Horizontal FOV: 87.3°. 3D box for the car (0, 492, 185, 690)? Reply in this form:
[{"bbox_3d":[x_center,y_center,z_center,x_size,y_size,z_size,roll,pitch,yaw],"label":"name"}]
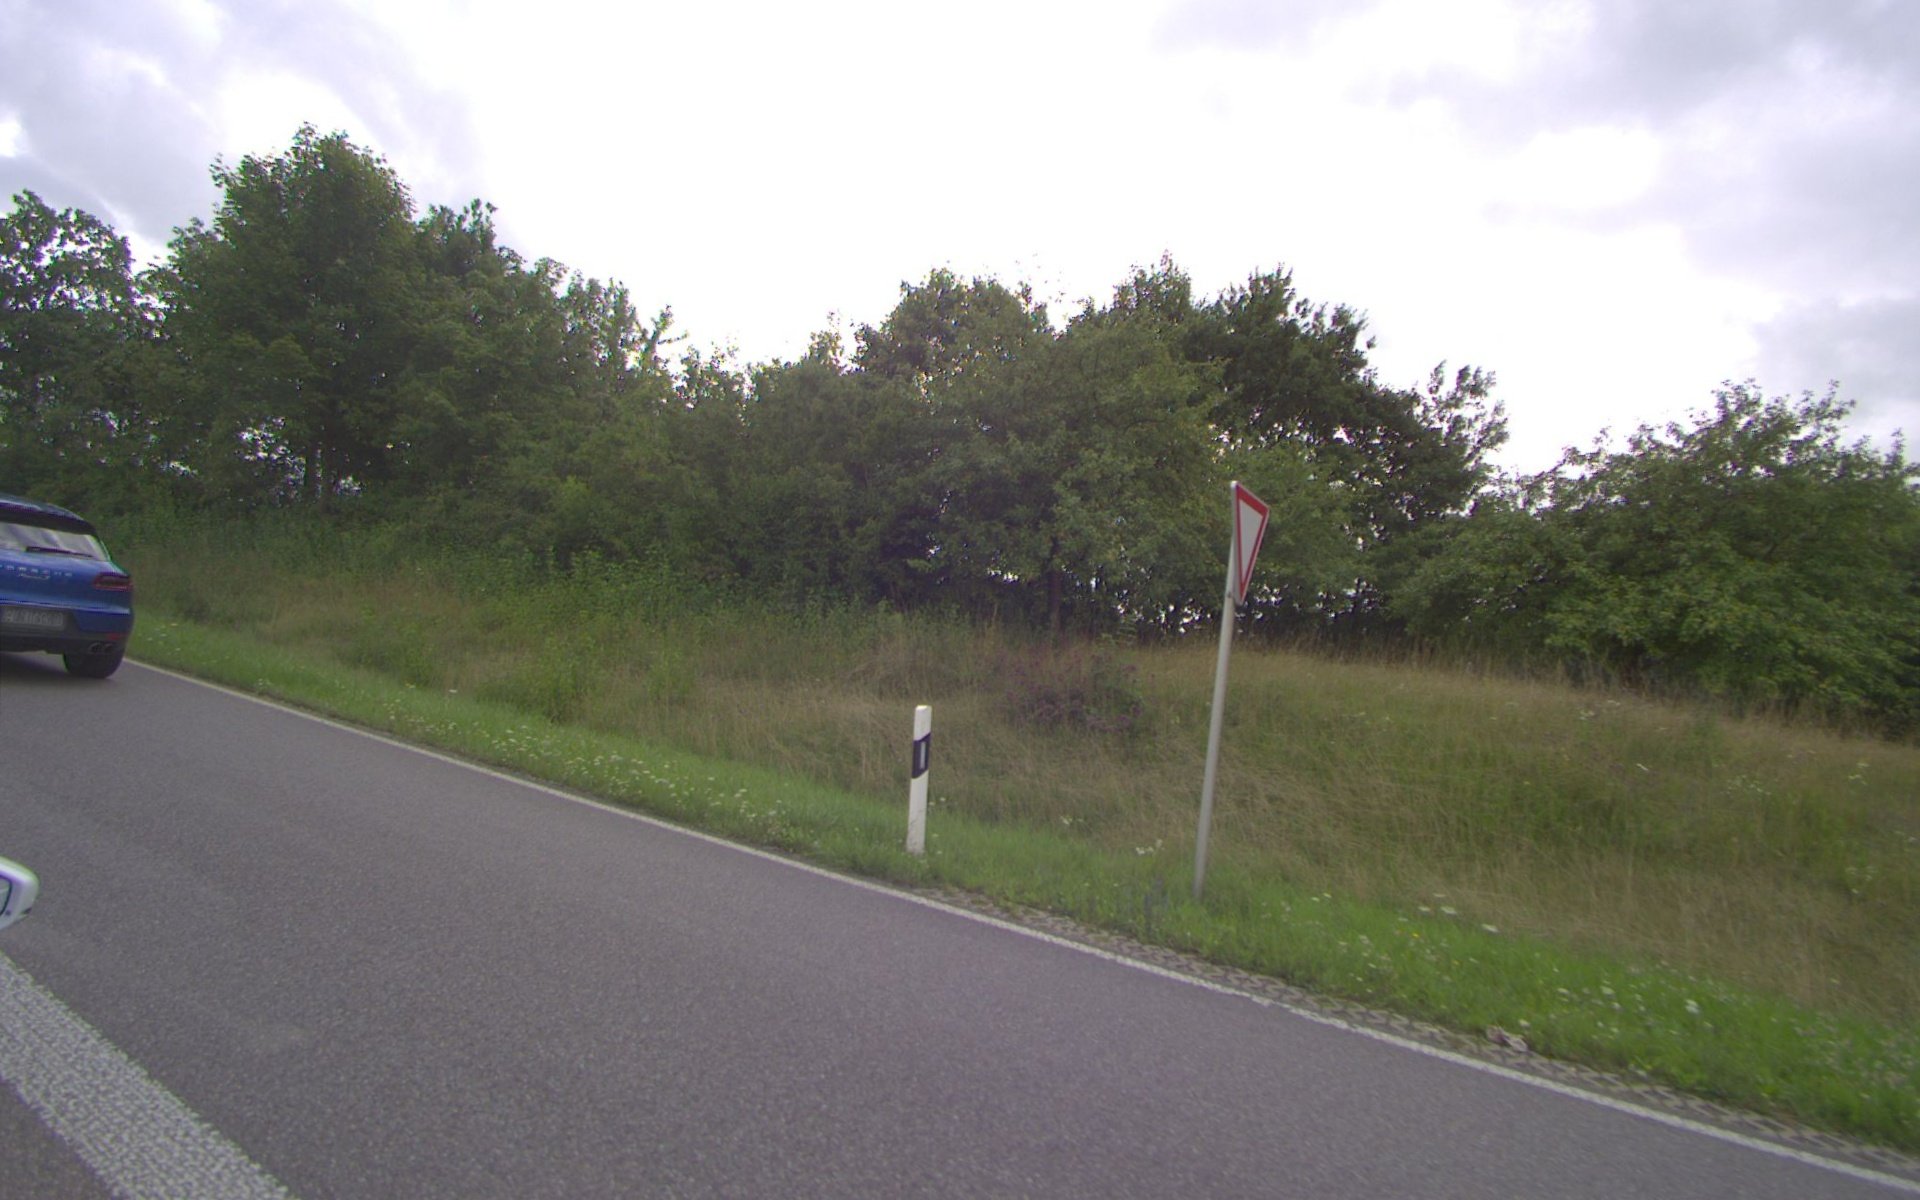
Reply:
[{"bbox_3d":[-9.841,-0.298,9.716,4.676,1.588,1.999,7,-3,30],"label":"car"}]
